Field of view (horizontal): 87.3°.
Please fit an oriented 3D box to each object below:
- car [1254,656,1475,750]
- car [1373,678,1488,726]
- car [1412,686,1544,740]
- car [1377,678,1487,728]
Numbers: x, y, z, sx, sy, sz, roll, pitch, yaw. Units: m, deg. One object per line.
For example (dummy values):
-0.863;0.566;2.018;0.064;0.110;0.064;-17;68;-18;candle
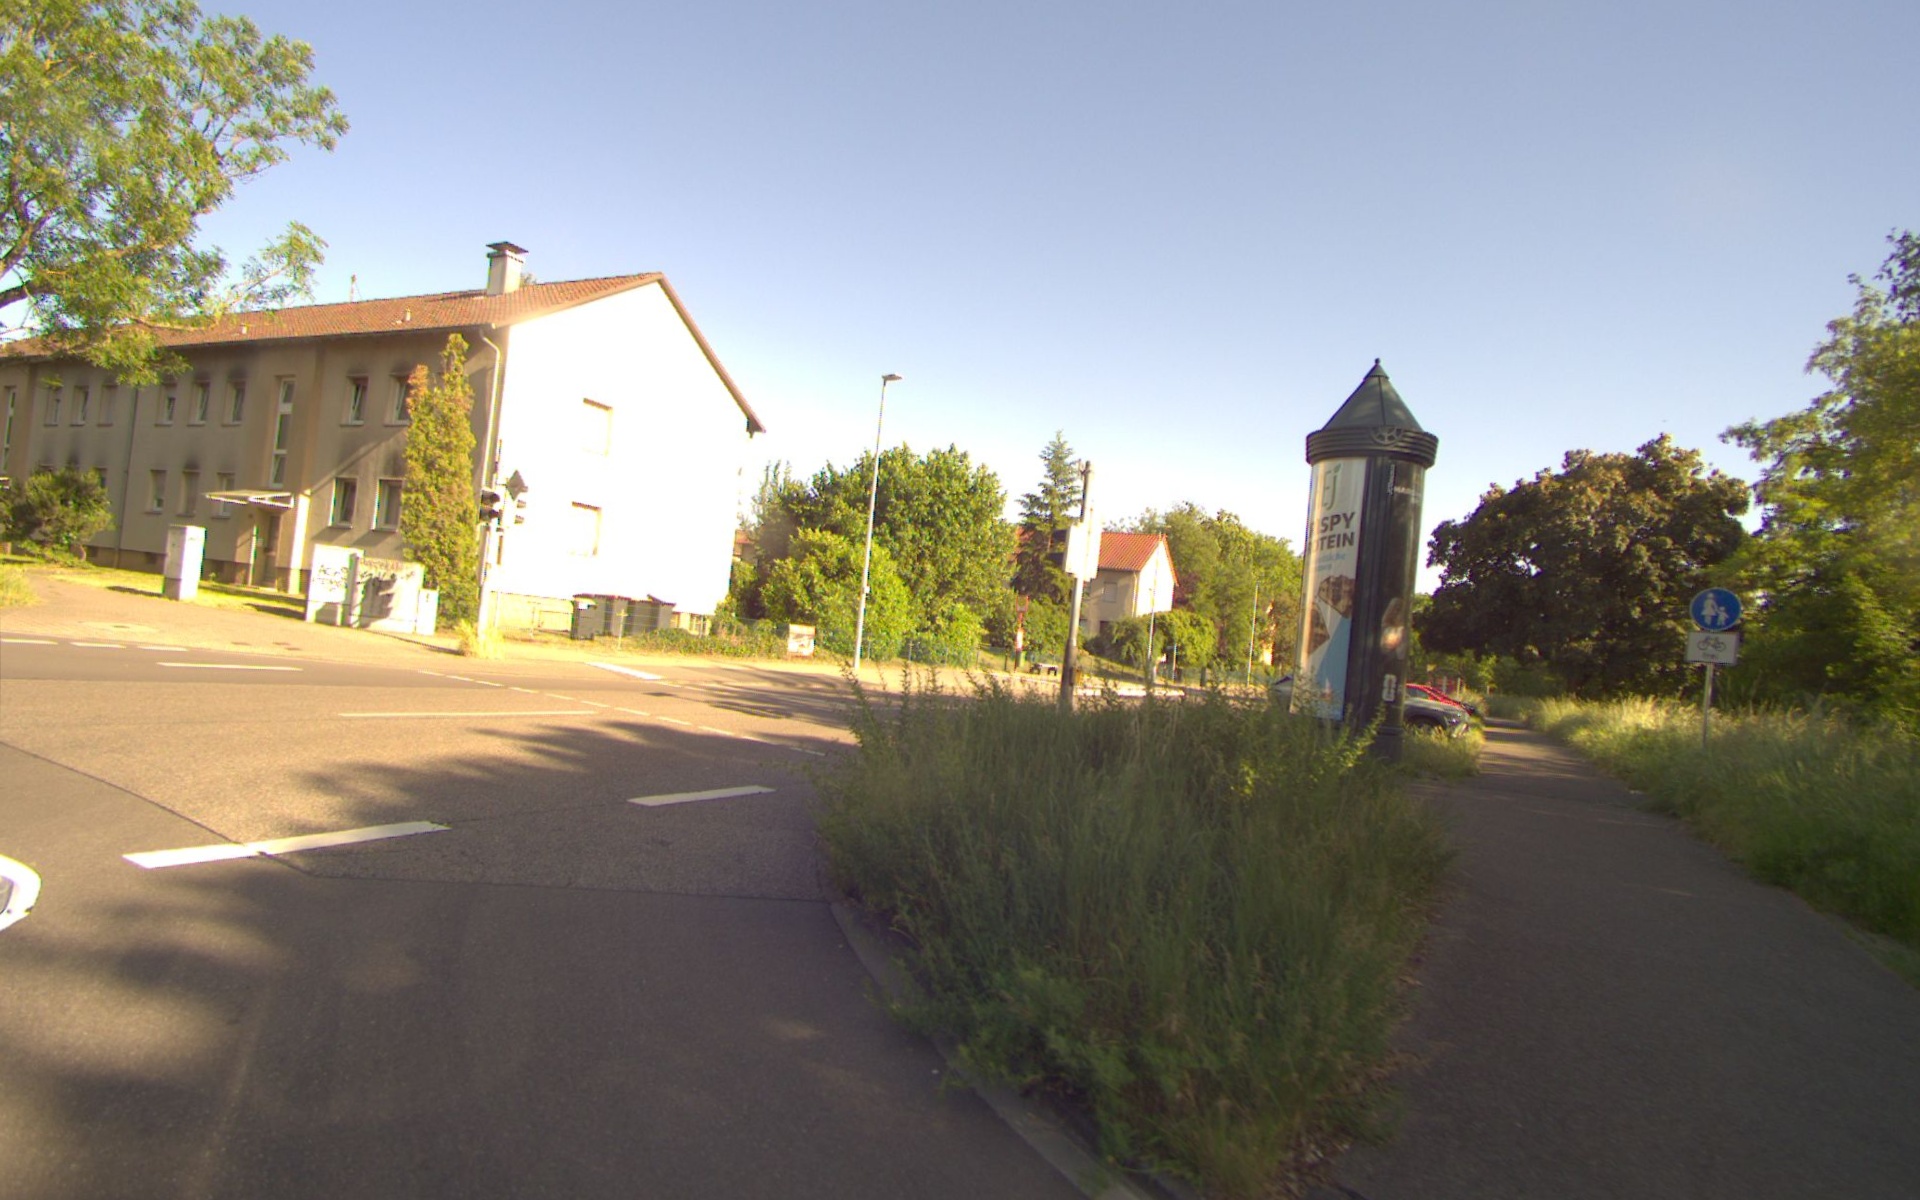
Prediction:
9.076;2.281;22.618;4.372;1.668;1.869;2;-5;28;car
19.211;4.167;41.130;4.125;1.548;1.869;2;-5;28;car
18.965;4.133;36.954;4.125;1.548;1.869;2;-5;28;car
20.607;4.483;43.990;4.123;1.550;1.868;7;-1;28;car
